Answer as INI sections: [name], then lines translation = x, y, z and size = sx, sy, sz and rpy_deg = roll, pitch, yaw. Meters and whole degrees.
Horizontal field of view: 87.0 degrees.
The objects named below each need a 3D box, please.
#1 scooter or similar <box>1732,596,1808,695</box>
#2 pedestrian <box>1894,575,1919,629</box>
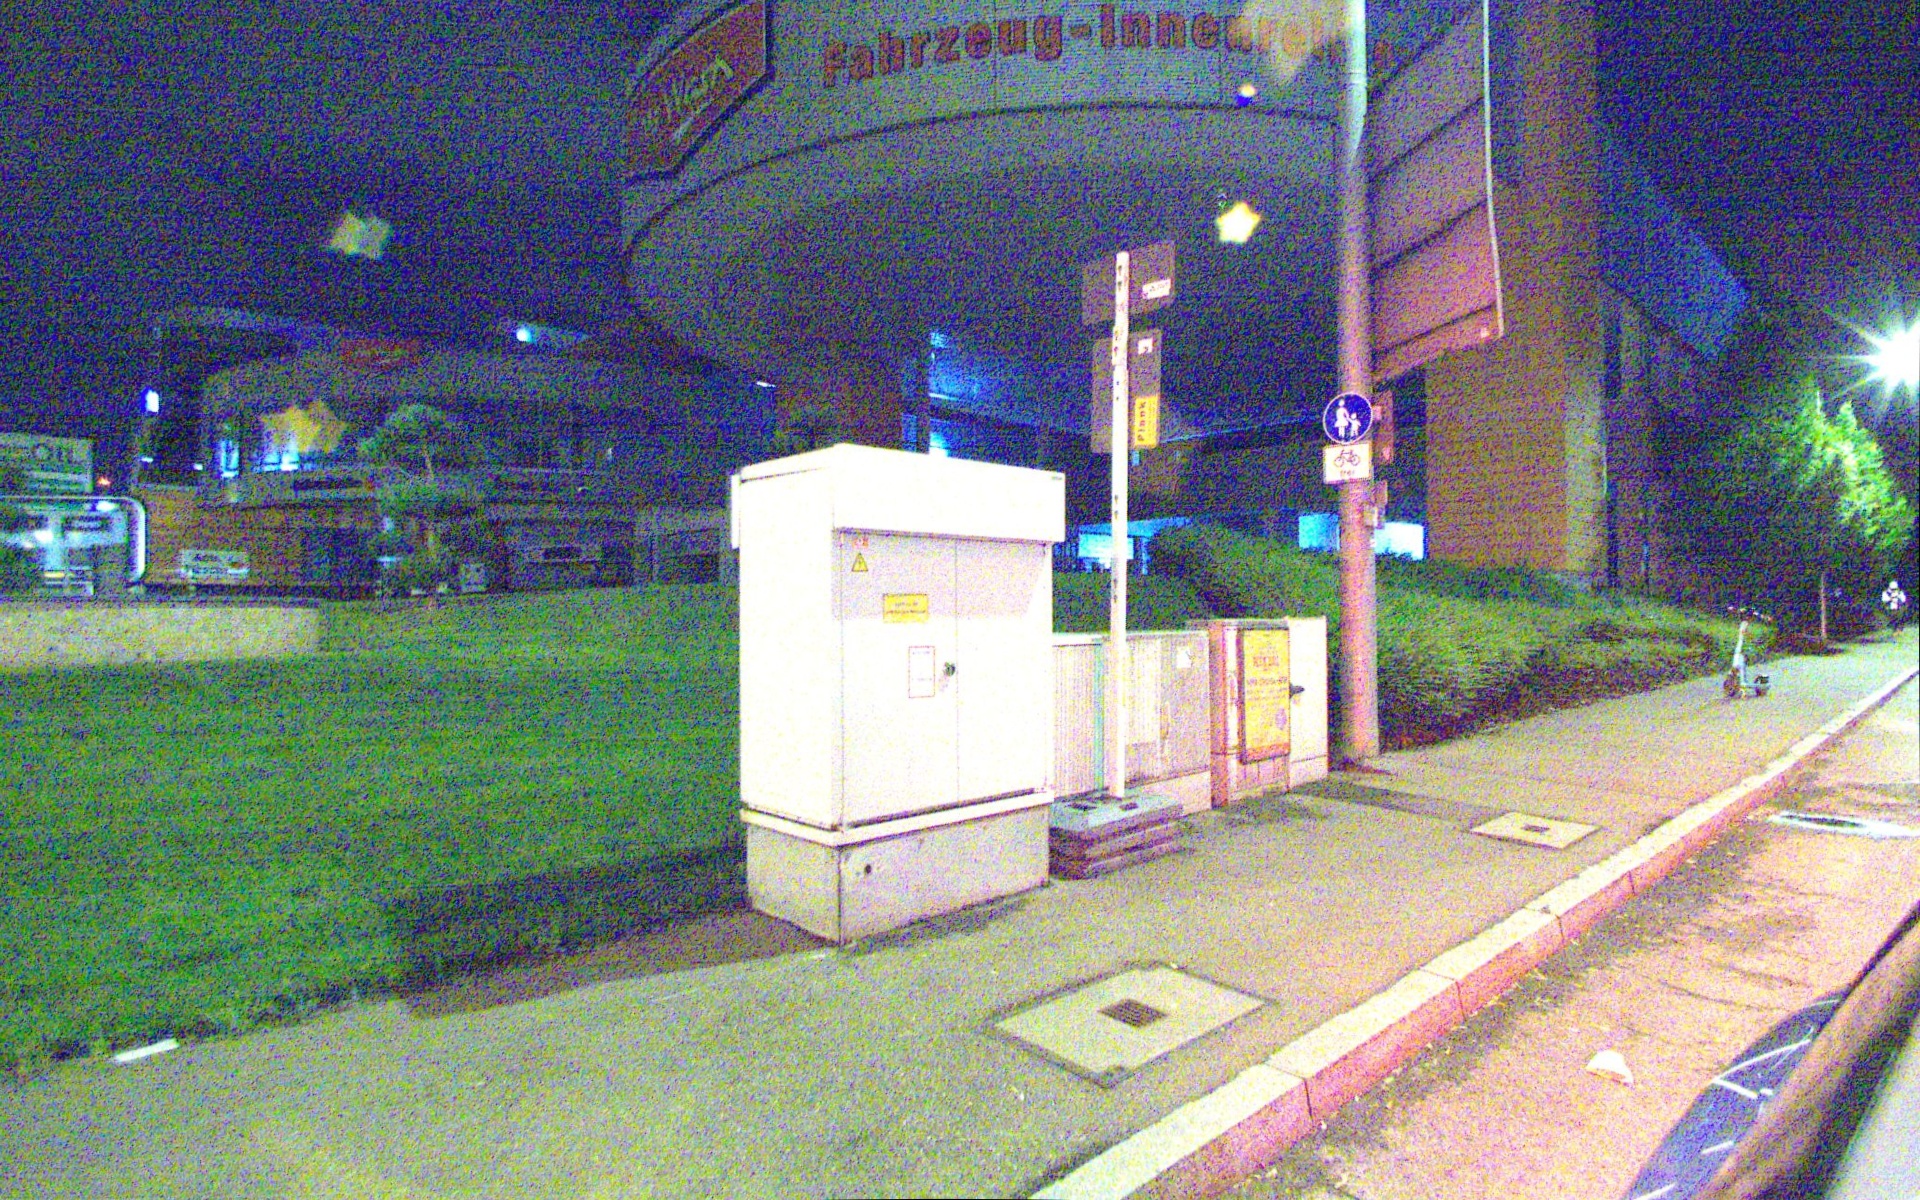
[scooter or similar]
translation = 11.275, 0.599, 14.081
size = 1.367, 1.295, 0.569
rpy_deg = 0, 1, -41
[pedestrian]
translation = 32.740, 0.076, 34.795
size = 0.597, 1.842, 0.824
rpy_deg = -1, 0, -40
